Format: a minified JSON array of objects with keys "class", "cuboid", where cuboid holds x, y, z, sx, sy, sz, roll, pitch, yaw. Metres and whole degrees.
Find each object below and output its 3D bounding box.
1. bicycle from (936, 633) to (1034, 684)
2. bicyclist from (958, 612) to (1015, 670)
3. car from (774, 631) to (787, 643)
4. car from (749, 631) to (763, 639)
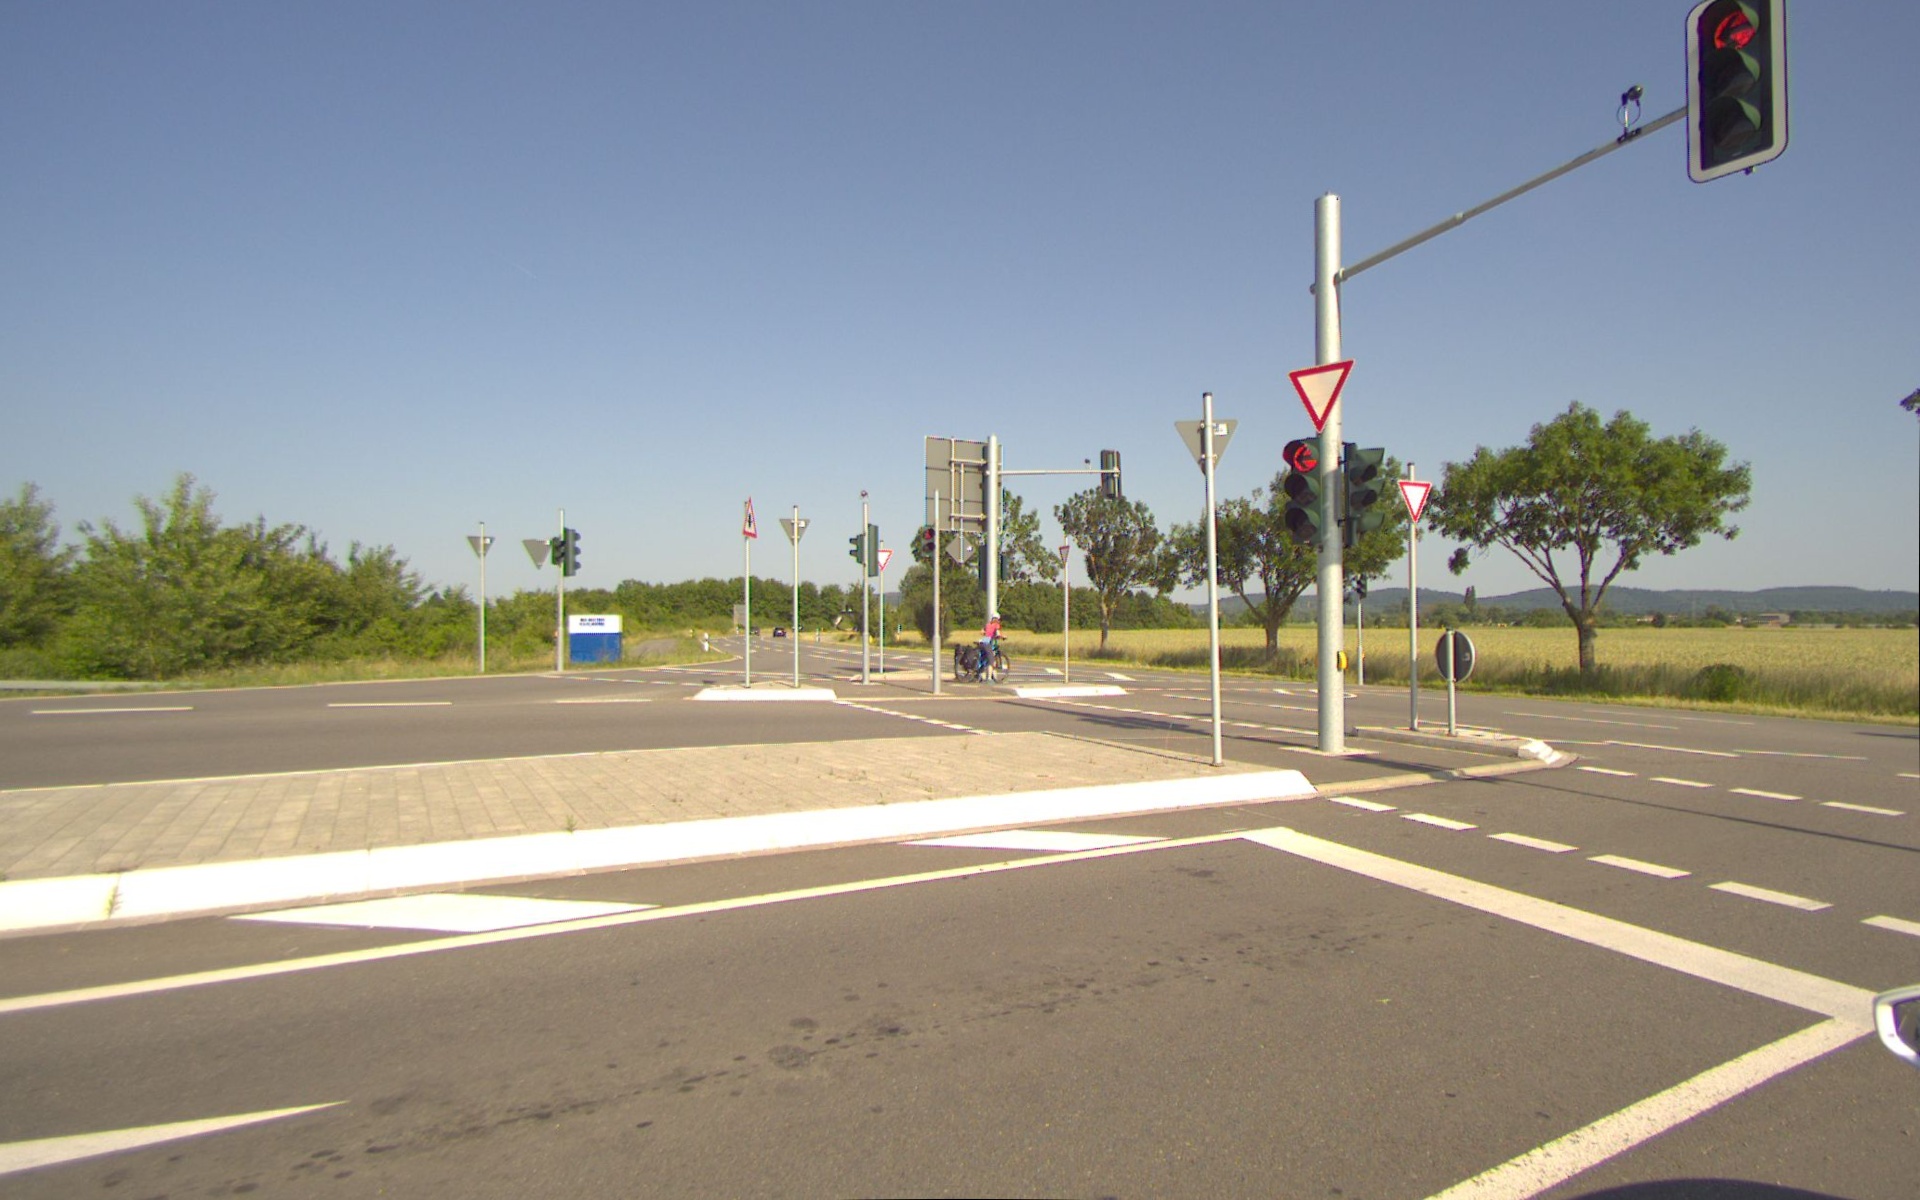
[{"class":"bicycle","cuboid":[0.608,1.409,24.204,2.126,1.164,1.065,3,-1,-31]},{"class":"bicyclist","cuboid":[0.635,0.989,24.248,1.062,1.369,0.851,2,-1,-31]},{"class":"car","cuboid":[-24.779,5.147,138.634,1.698,1.544,3.463,2,-1,-10]},{"class":"car","cuboid":[-30.030,5.135,147.730,1.708,1.127,3.995,2,-2,-8]}]
